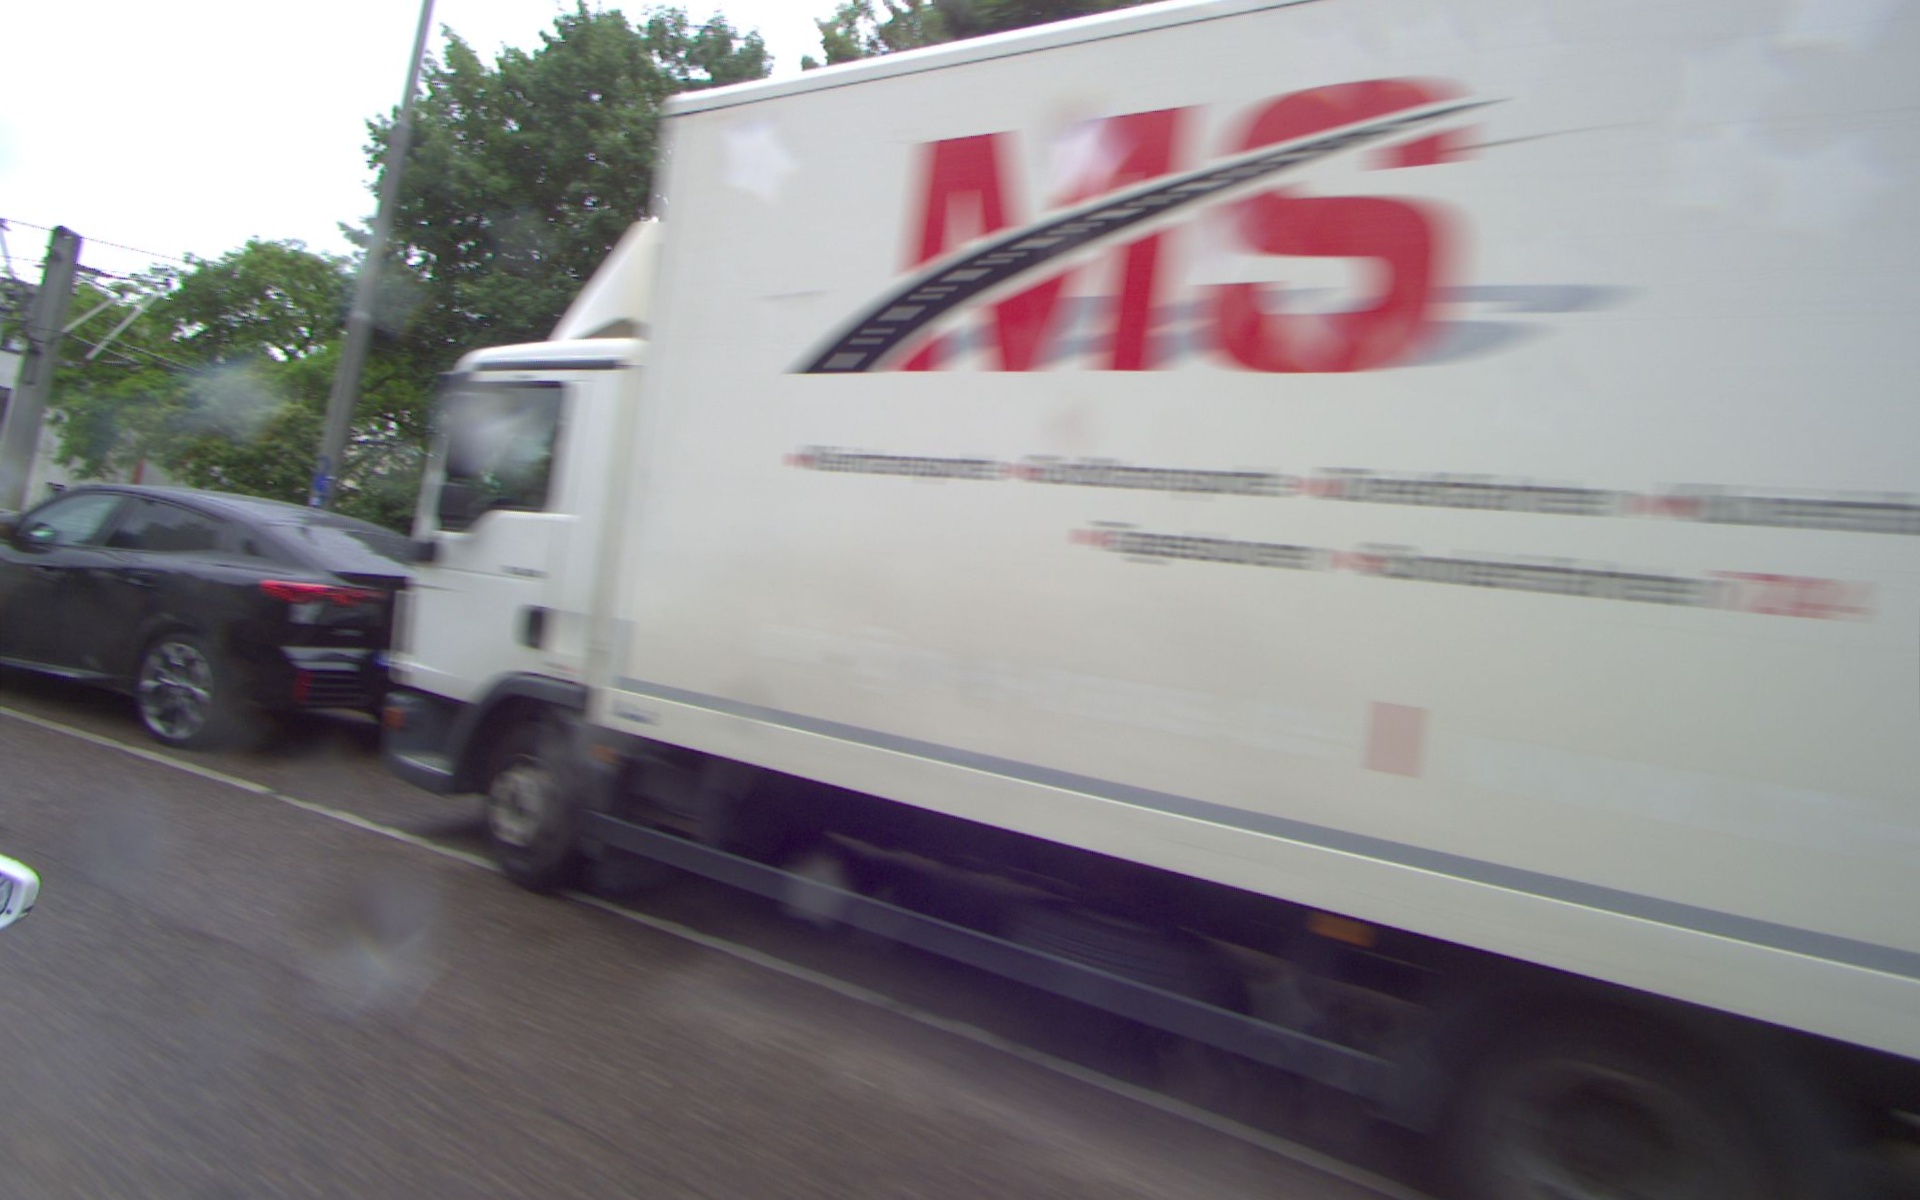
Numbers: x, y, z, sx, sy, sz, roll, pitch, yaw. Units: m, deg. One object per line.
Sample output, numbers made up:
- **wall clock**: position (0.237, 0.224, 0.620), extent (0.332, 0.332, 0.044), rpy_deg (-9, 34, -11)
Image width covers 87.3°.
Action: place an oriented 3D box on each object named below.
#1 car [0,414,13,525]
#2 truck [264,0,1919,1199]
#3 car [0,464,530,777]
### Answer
- **car**: position (-11.554, -1.094, 9.130), extent (4.602, 2.038, 1.884), rpy_deg (8, 0, 12)
- **truck**: position (1.053, -0.135, 4.254), extent (8.193, 3.617, 3.013), rpy_deg (7, 0, 29)
- **car**: position (-5.515, 0.016, 7.282), extent (4.196, 1.575, 1.724), rpy_deg (8, 0, 18)
